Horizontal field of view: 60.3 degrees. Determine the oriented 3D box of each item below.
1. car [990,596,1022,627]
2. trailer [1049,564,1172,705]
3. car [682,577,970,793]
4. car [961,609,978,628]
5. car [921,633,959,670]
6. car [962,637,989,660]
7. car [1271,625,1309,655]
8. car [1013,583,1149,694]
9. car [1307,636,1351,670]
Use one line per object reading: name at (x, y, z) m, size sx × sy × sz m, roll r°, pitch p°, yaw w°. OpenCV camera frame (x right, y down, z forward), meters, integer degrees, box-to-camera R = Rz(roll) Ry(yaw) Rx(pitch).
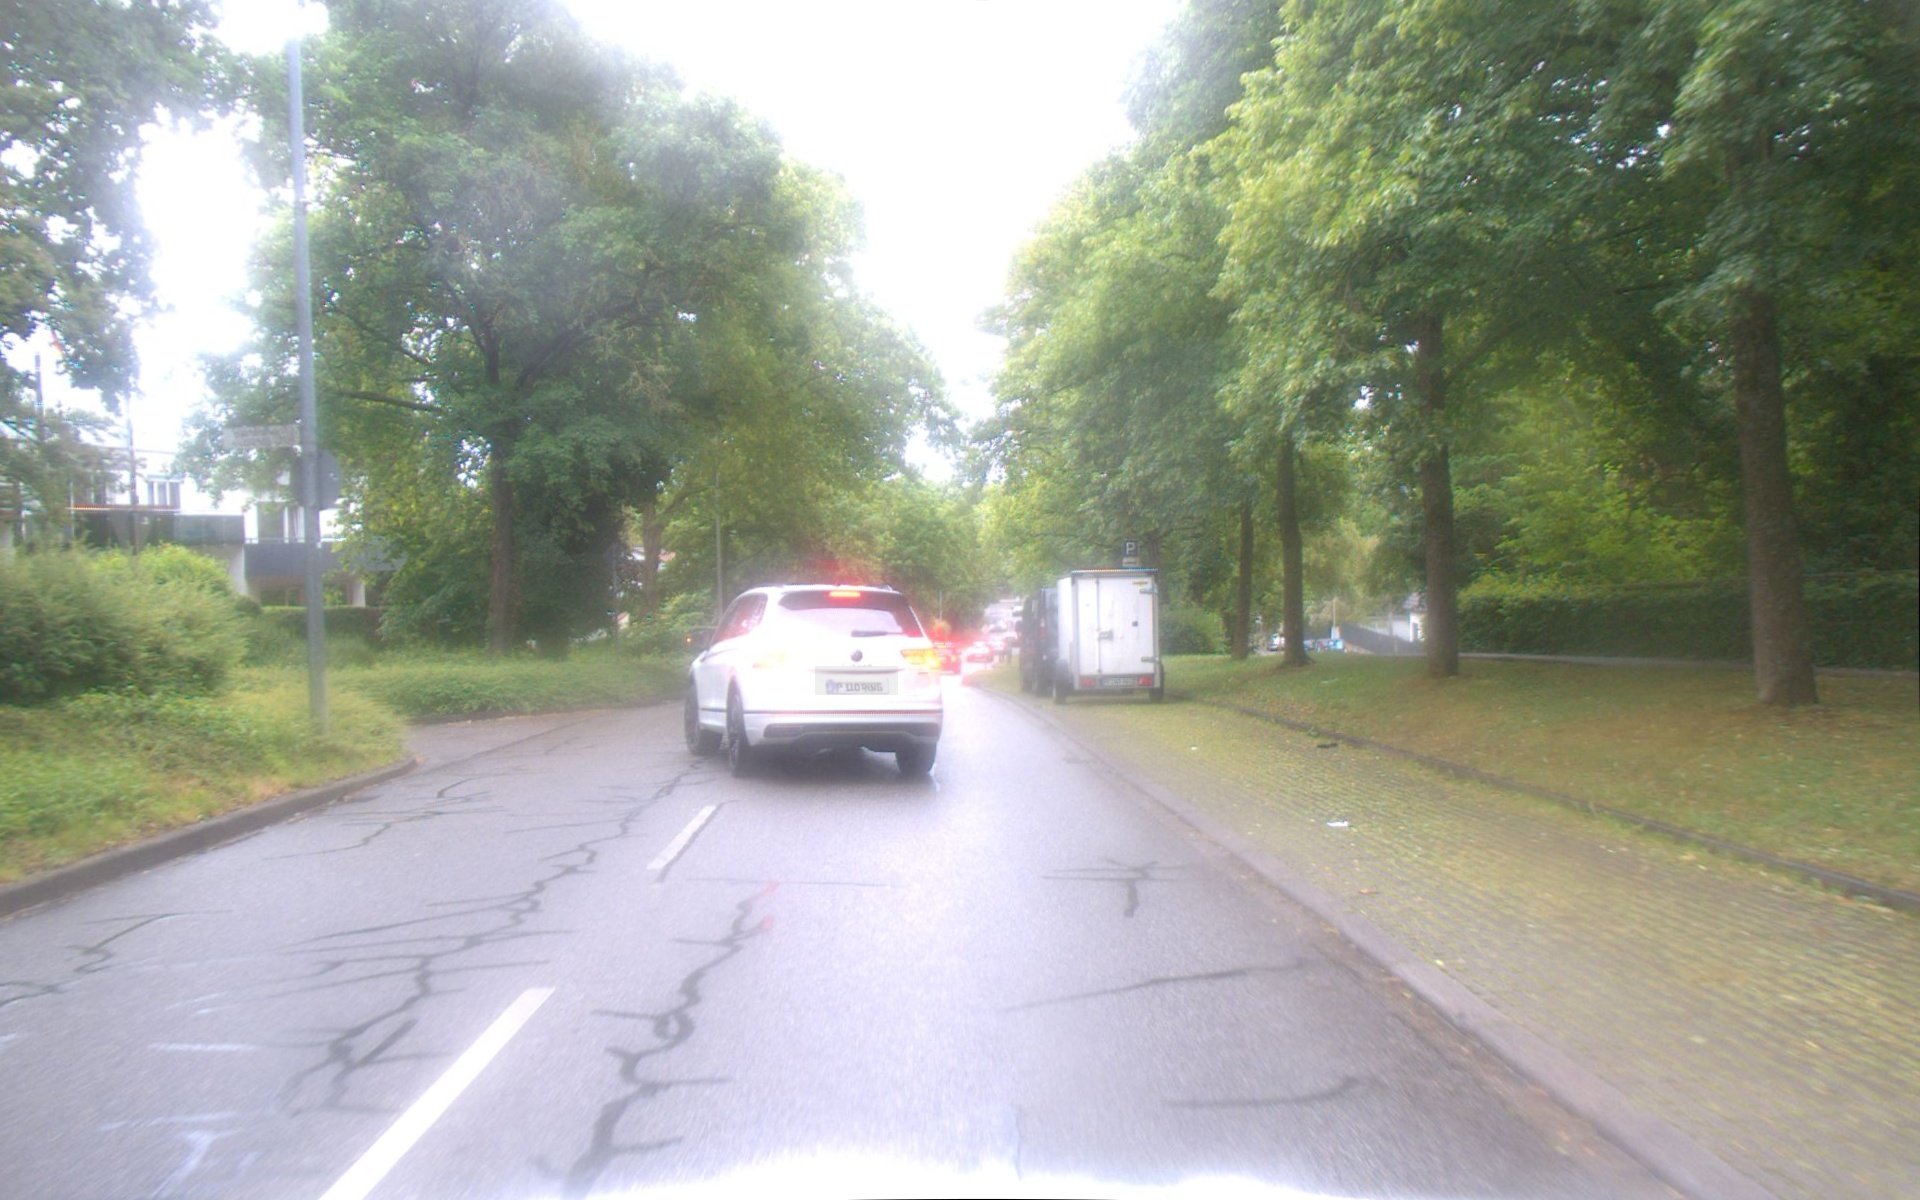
car at (3.292, 0.828, 118.728) m, size 1.954 × 2.049 × 3.997 m, roll -1°, pitch -2°, yaw -3°
trailer at (2.427, 0.568, 27.504) m, size 1.499 × 2.112 × 3.998 m, roll -2°, pitch -1°, yaw -2°
car at (-1.419, 0.698, 15.661) m, size 1.875 × 1.715 × 4.181 m, roll -1°, pitch 0°, yaw -17°
car at (1.105, 2.200, 198.241) m, size 1.953 × 2.048 × 4.001 m, roll -1°, pitch 3°, yaw -1°
car at (-1.150, 2.948, 94.485) m, size 1.954 × 2.049 × 3.997 m, roll -1°, pitch -2°, yaw -3°
car at (1.163, 3.685, 125.712) m, size 1.819 × 1.721 × 3.997 m, roll -1°, pitch -2°, yaw -3°
car at (25.196, 3.064, 126.361) m, size 1.953 × 2.048 × 3.999 m, roll -2°, pitch 1°, yaw -1°
car at (2.250, 0.752, 32.257) m, size 1.954 × 1.943 × 5.505 m, roll -1°, pitch -1°, yaw -3°
car at (25.284, 3.619, 113.504) m, size 1.953 × 2.048 × 3.999 m, roll -2°, pitch 1°, yaw -1°
